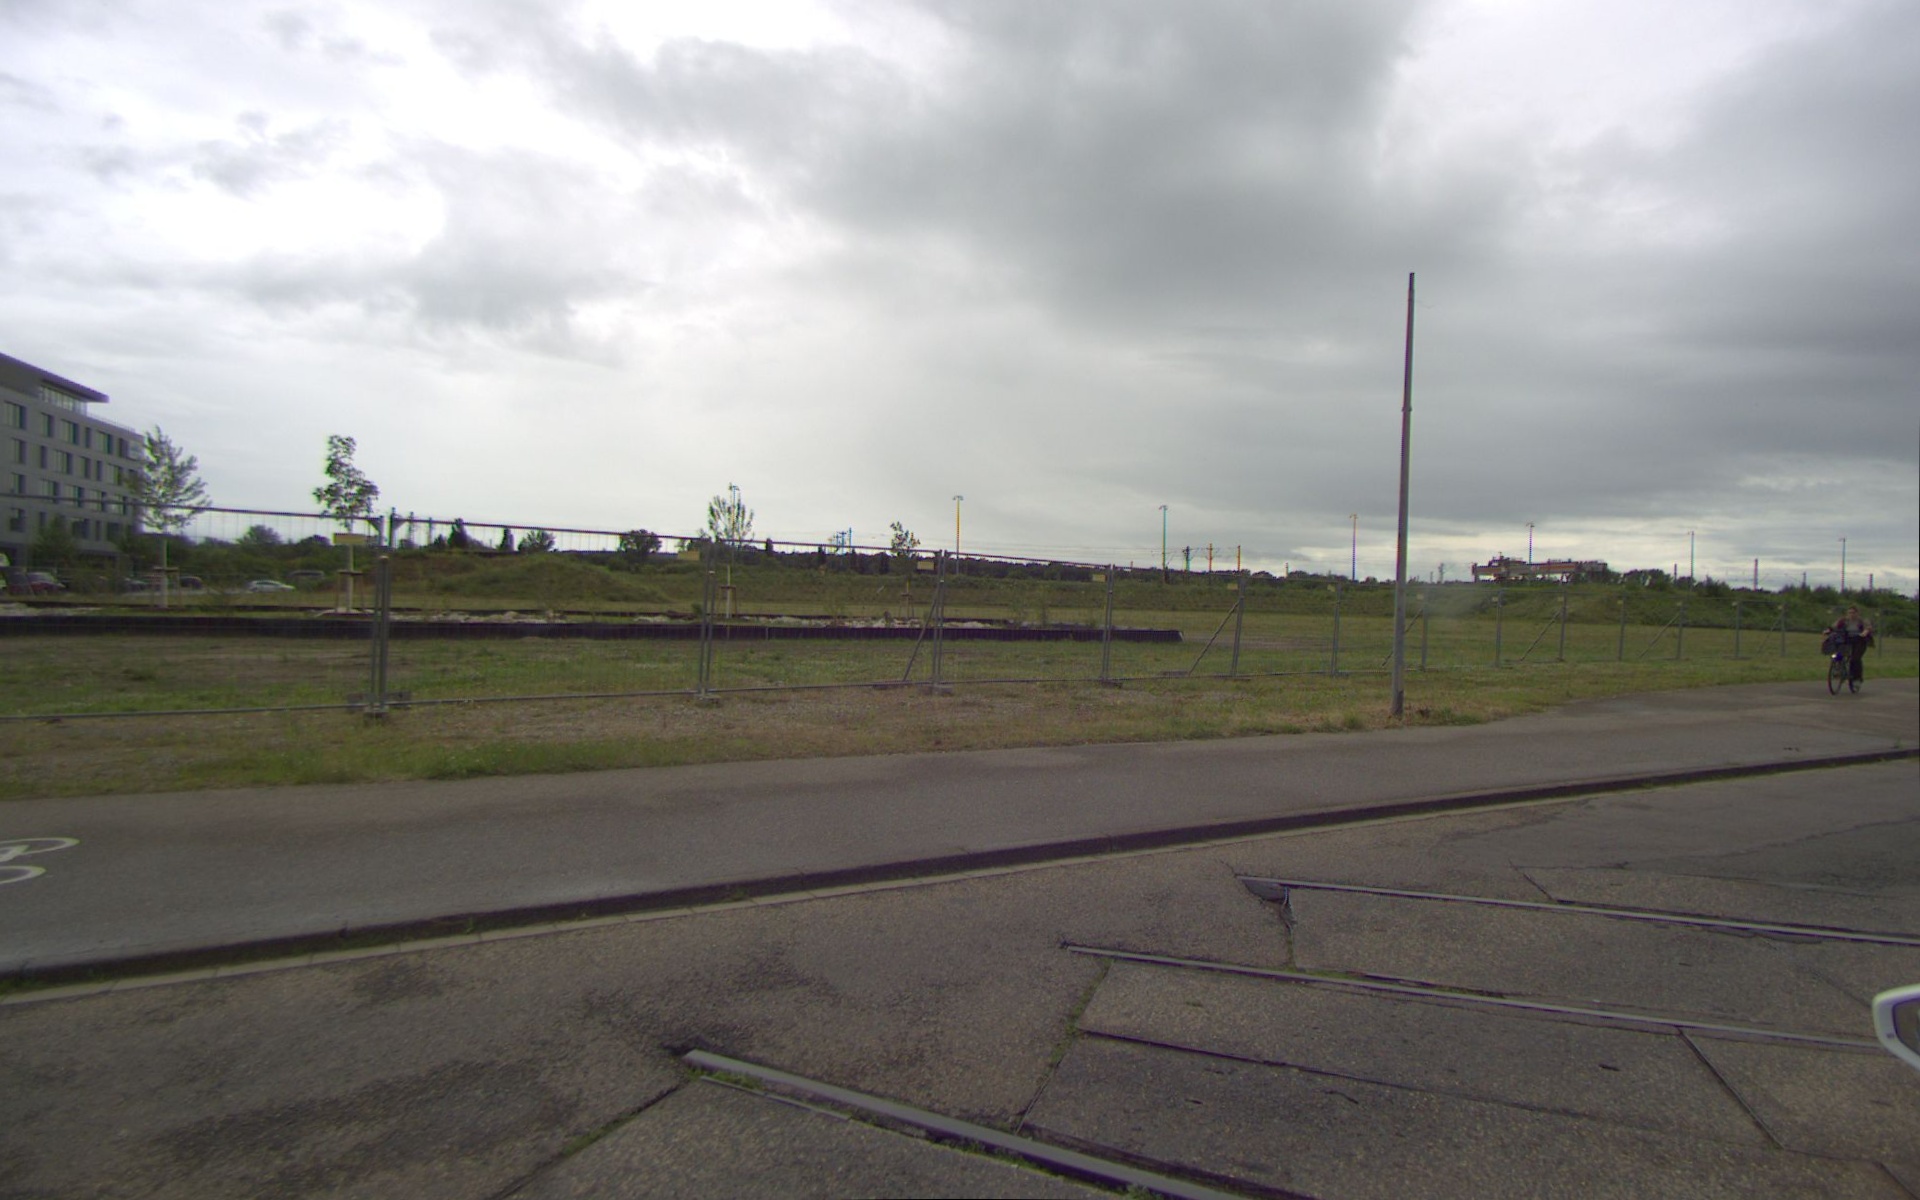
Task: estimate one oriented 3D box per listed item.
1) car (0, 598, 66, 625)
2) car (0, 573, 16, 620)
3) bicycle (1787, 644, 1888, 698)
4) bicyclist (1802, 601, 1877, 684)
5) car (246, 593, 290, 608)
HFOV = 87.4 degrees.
[{"bbox_3d":[-64.528,0.786,69.822,1.970,1.862,4.505,1,0,-20],"label":"car"},{"bbox_3d":[-61.905,-0.191,62.071,2.672,2.996,6.548,0,0,-19],"label":"car"},{"bbox_3d":[16.939,1.350,19.369,2.206,0.920,0.799,0,0,-30],"label":"bicycle"},{"bbox_3d":[16.953,0.789,19.370,1.081,1.547,0.778,0,0,-30],"label":"bicyclist"},{"bbox_3d":[-79.582,0.051,115.574,3.950,1.639,1.985,0,0,-29],"label":"car"}]
